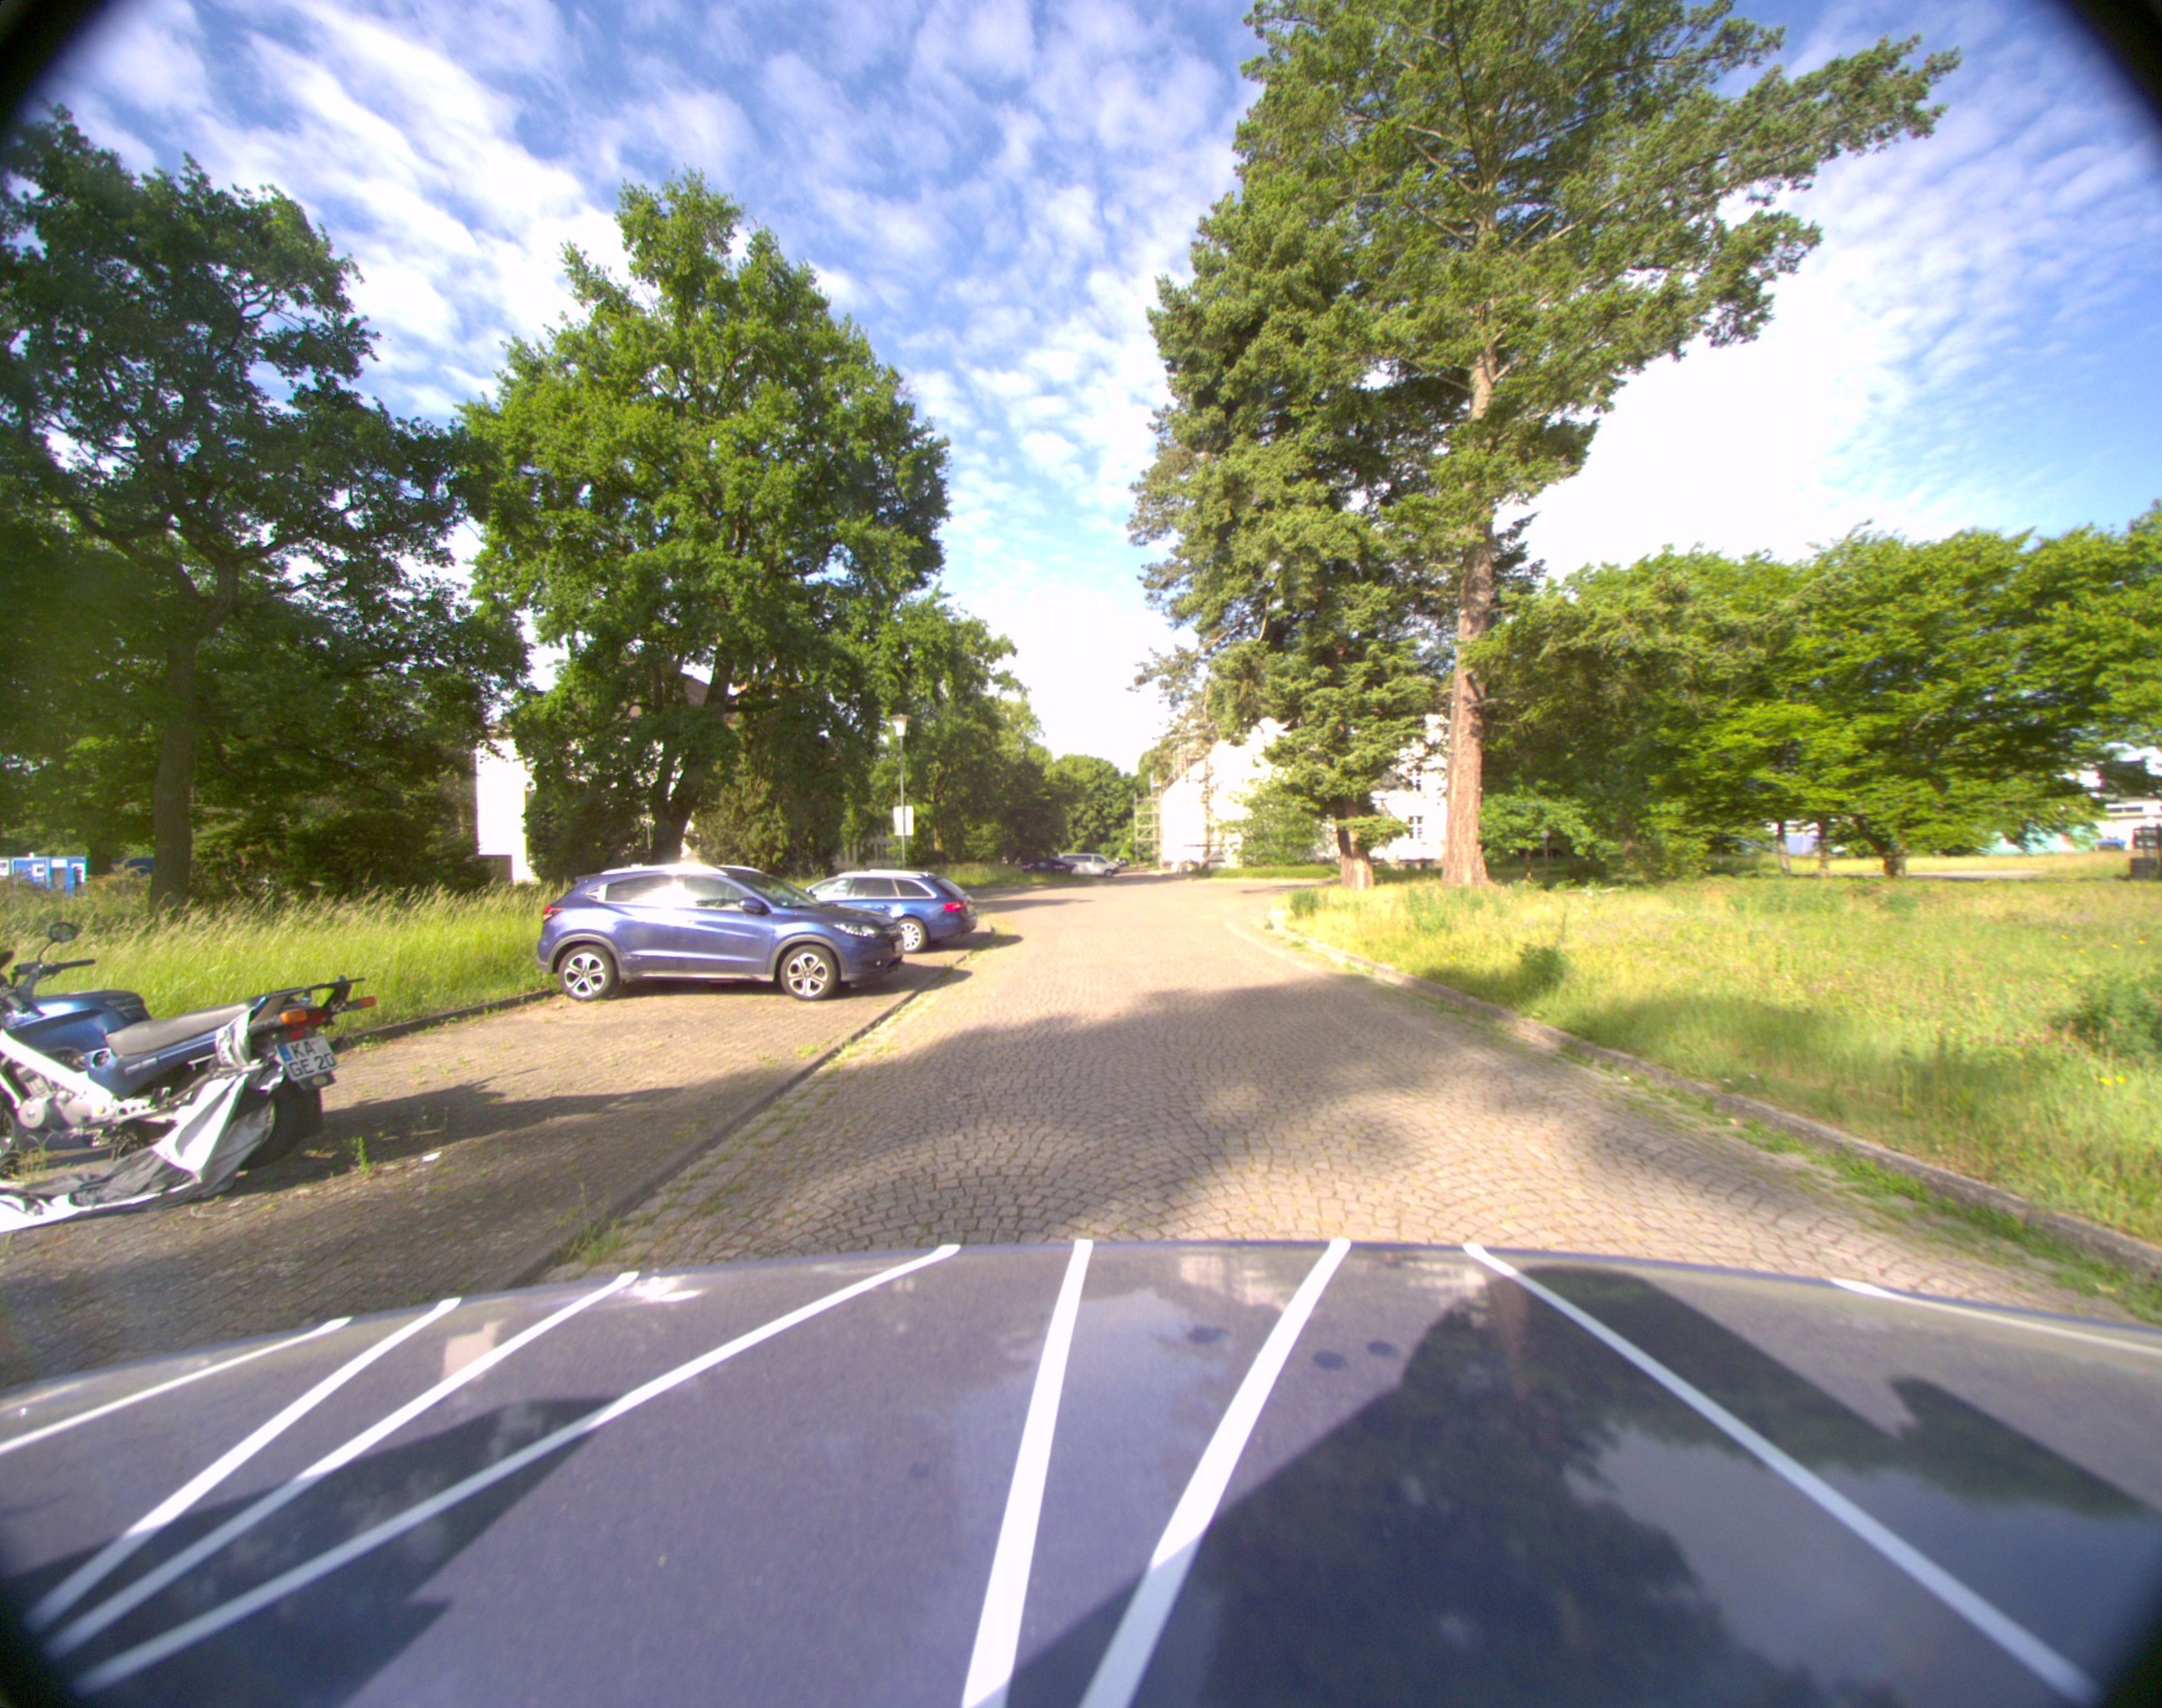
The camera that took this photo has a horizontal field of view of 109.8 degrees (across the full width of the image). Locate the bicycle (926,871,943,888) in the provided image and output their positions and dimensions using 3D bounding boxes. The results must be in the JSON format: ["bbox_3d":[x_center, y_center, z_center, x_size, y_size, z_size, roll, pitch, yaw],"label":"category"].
[{"bbox_3d":[-8.326,1.448,43.324,0.747,0.929,1.140,-1,0,-2],"label":"bicycle"}]

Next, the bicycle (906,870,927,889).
[{"bbox_3d":[-9.295,1.426,42.936,0.710,1.010,1.257,-1,0,8],"label":"bicycle"}]

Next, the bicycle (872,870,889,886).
[{"bbox_3d":[-12.628,1.492,47.793,0.712,1.010,1.024,-1,0,-36],"label":"bicycle"}]

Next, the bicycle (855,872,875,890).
[{"bbox_3d":[-12.425,1.552,43.667,0.710,1.010,1.028,-1,0,8],"label":"bicycle"}]

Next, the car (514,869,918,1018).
[{"bbox_3d":[-4.357,1.038,9.538,4.187,1.581,1.751,-1,0,1],"label":"car"}]

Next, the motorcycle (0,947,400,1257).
[{"bbox_3d":[-4.896,1.173,3.807,2.305,1.312,0.726,0,0,1],"label":"motorcycle"}]

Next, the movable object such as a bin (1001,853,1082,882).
[{"bbox_3d":[-2.574,0.877,50.081,4.931,1.749,2.002,-1,0,16],"label":"movable object such as a bin"}]

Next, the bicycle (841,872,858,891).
[{"bbox_3d":[-13.195,1.573,43.308,0.619,1.010,1.027,-1,0,4],"label":"bicycle"}]

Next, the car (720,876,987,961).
[{"bbox_3d":[-4.143,1.150,14.233,4.459,1.399,1.714,0,0,4],"label":"car"}]

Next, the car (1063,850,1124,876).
[{"bbox_3d":[1.019,0.731,62.980,4.936,2.002,2.000,-1,0,1],"label":"car"}]

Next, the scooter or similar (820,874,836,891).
[{"bbox_3d":[-14.203,1.594,42.687,0.769,0.924,0.261,-1,0,-5],"label":"scooter or similar"}]
